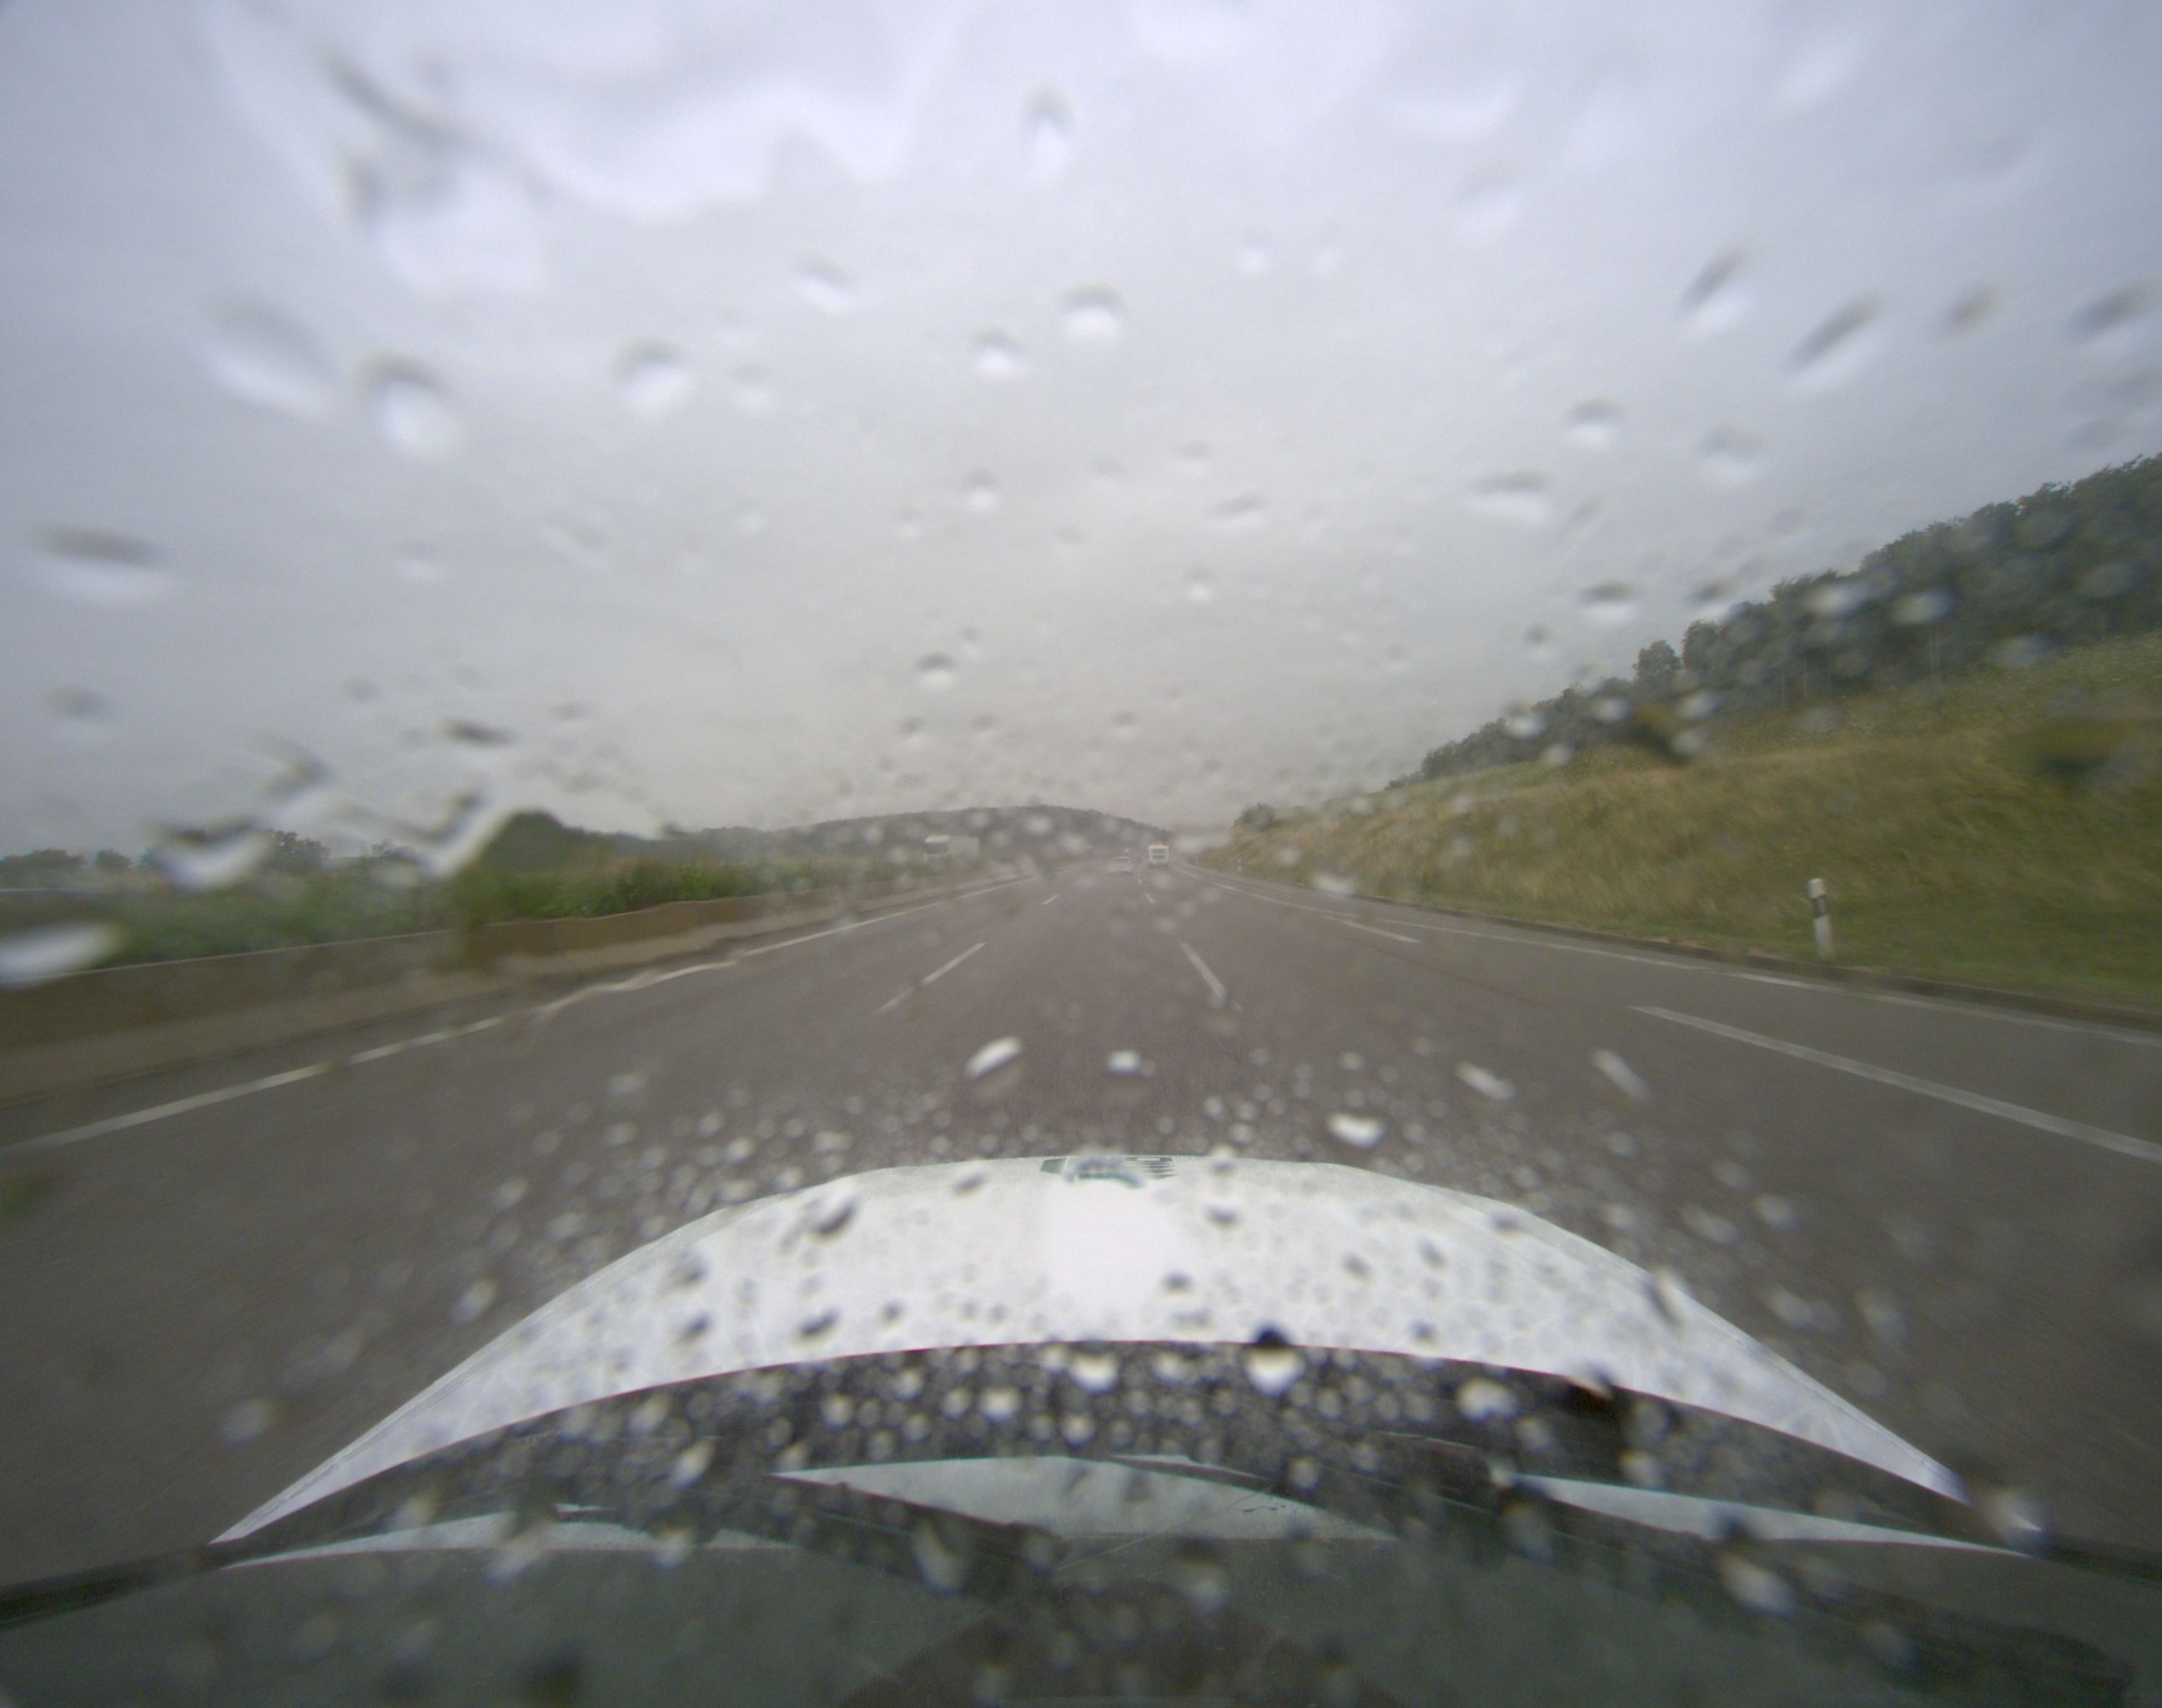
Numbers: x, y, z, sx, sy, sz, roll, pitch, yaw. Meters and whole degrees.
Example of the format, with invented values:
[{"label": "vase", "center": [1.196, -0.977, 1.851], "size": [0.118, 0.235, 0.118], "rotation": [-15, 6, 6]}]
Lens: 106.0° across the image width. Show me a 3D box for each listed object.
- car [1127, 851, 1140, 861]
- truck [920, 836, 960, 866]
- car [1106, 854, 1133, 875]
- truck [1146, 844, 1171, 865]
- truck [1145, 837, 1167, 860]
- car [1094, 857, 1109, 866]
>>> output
[{"label": "car", "center": [8.659, 0.386, 134.565], "size": [1.987, 1.618, 3.999], "rotation": [-1, 0, -1]}, {"label": "truck", "center": [-15.117, -0.298, 87.584], "size": [2.980, 3.124, 5.600], "rotation": [-1, 0, 3]}, {"label": "car", "center": [2.809, 0.786, 59.572], "size": [1.860, 1.463, 4.002], "rotation": [-1, -1, 2]}, {"label": "truck", "center": [8.740, 0.088, 91.900], "size": [2.399, 2.252, 4.694], "rotation": [-1, 0, 1]}, {"label": "truck", "center": [12.912, -0.948, 140.096], "size": [3.510, 3.742, 11.444], "rotation": [0, 1, 5]}, {"label": "car", "center": [2.698, 1.010, 106.401], "size": [1.818, 1.156, 4.211], "rotation": [-1, -1, -1]}]
